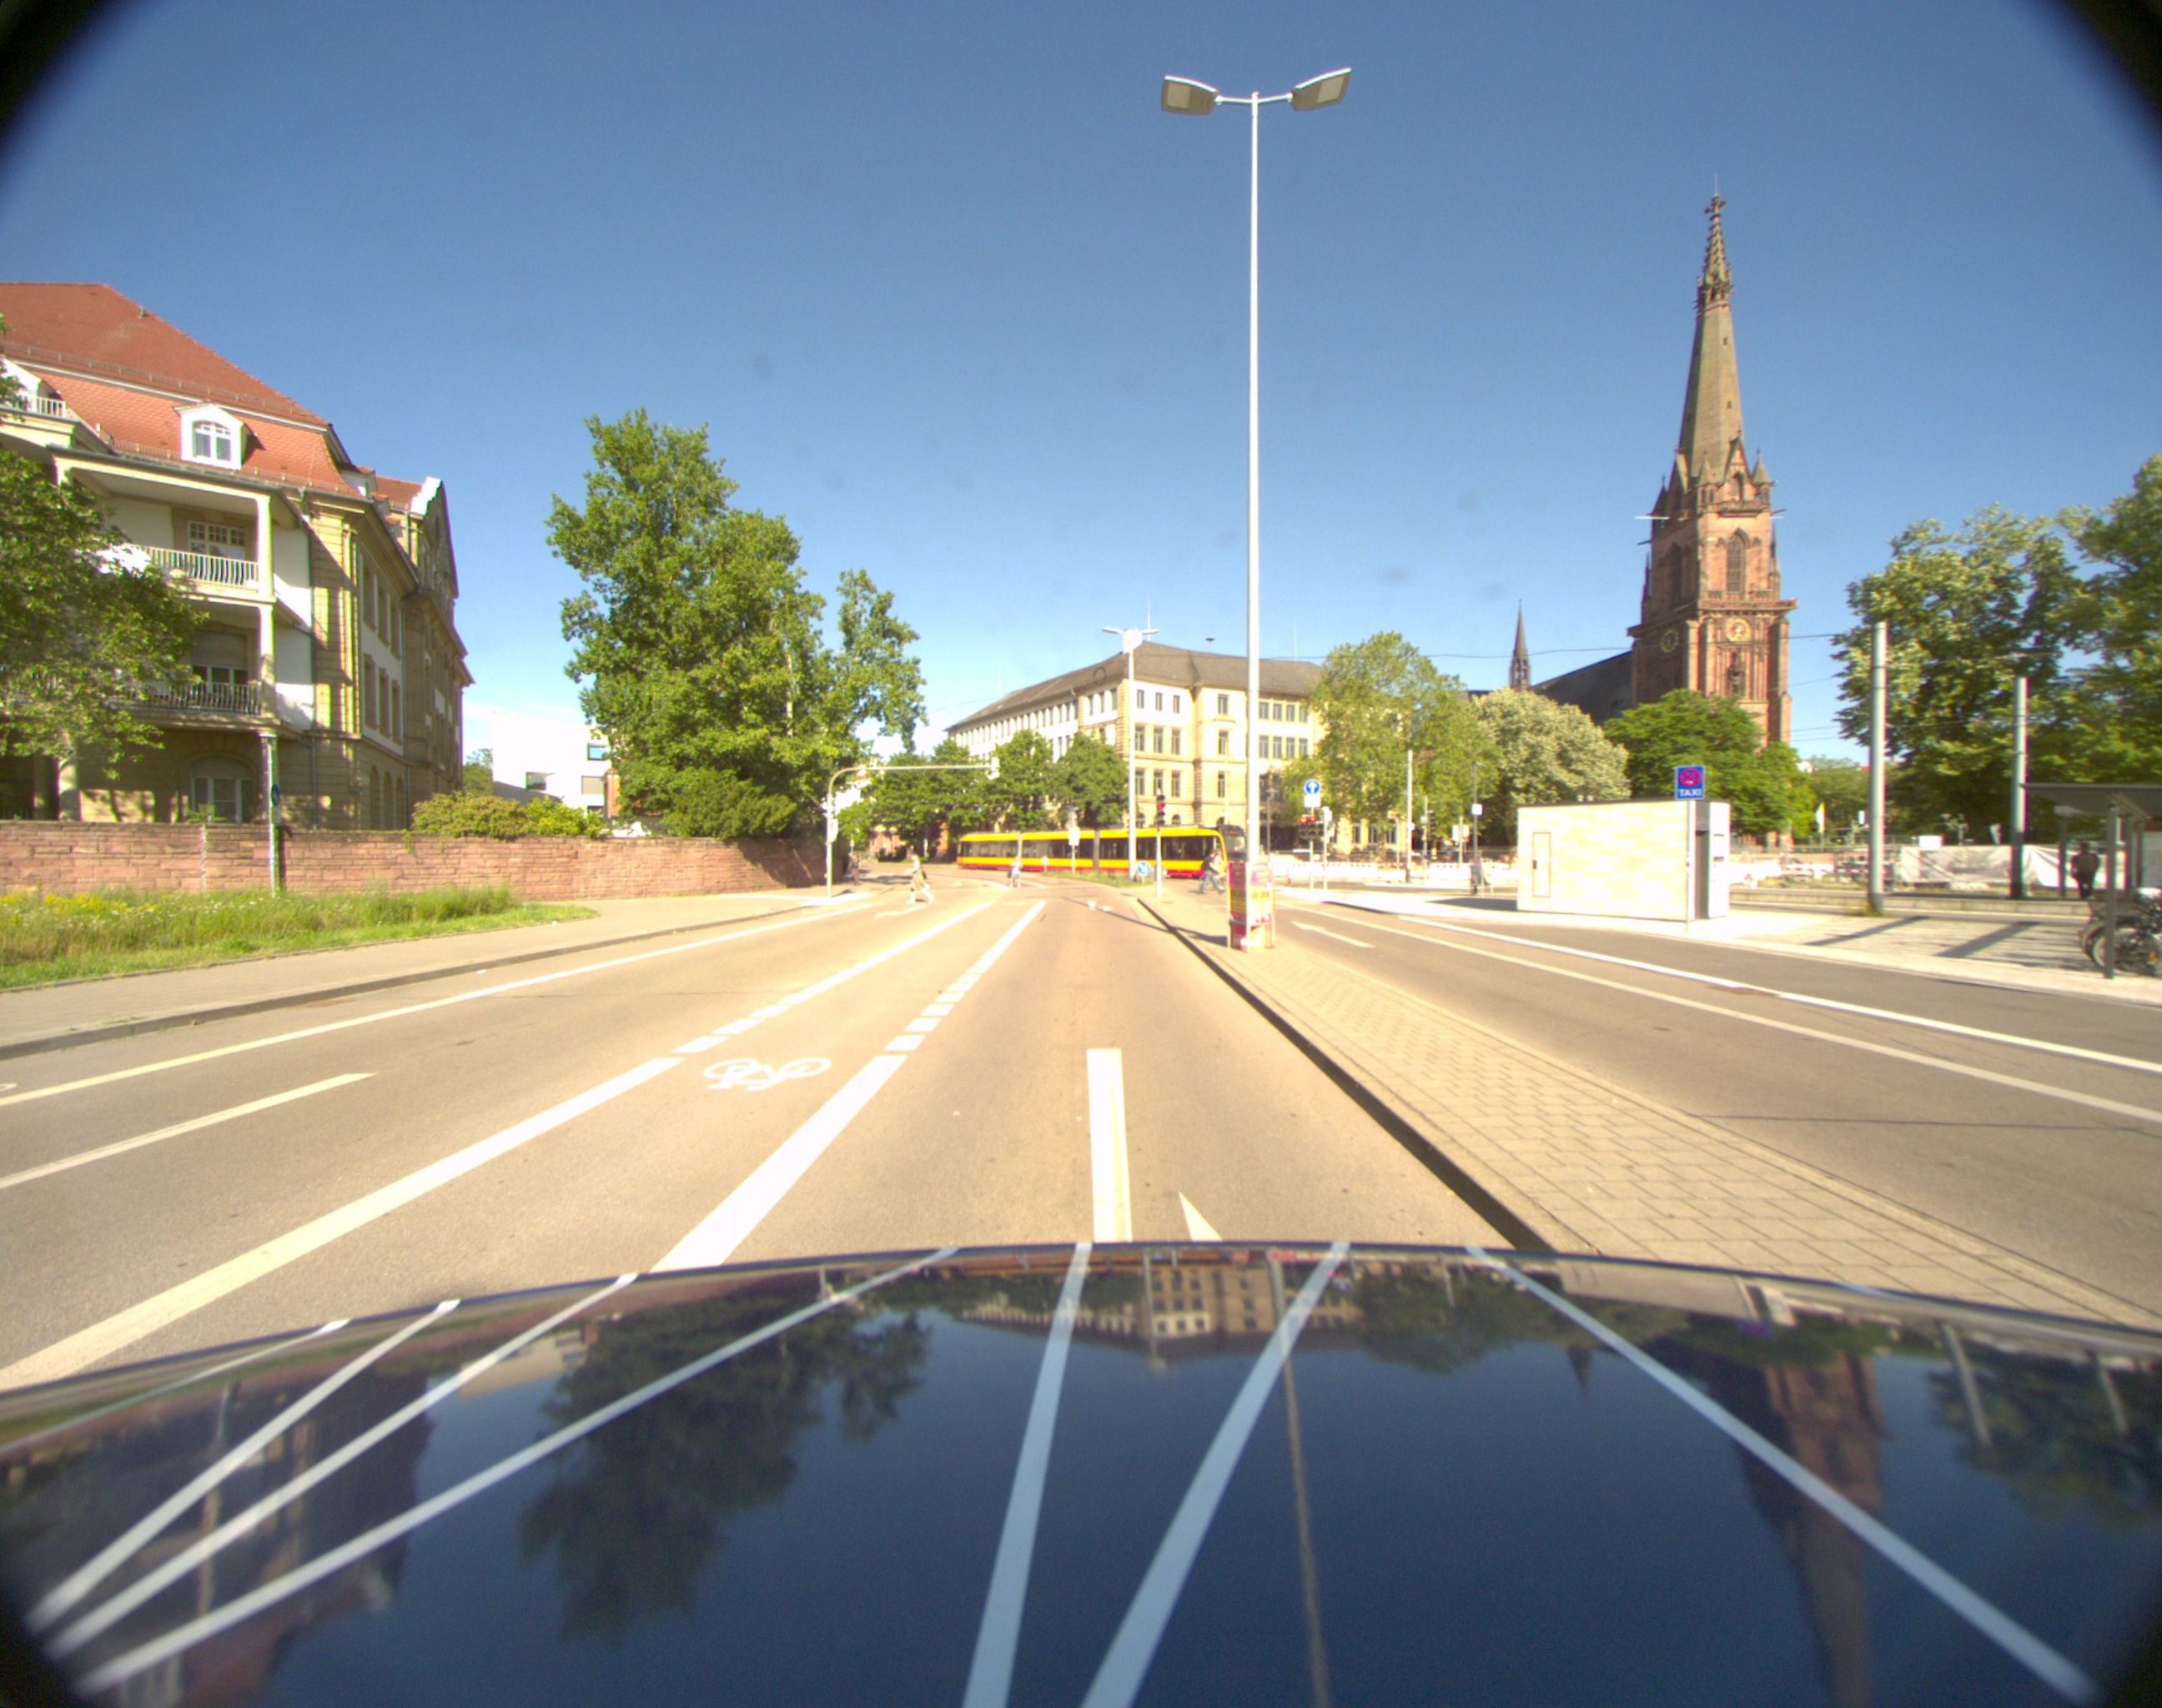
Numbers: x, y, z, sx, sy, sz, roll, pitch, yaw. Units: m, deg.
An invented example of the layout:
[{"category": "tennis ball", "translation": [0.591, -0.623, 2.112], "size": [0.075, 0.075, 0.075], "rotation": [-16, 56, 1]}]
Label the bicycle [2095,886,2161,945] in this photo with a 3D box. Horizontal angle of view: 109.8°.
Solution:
[{"category": "bicycle", "translation": [19.527, 1.118, 13.448], "size": [0.630, 1.002, 1.826], "rotation": [-1, 1, -32]}]

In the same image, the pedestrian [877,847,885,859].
[{"category": "pedestrian", "translation": [-30.036, -0.108, 113.907], "size": [0.759, 1.802, 0.977], "rotation": [-1, 1, -40]}]

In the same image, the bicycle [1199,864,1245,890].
[{"category": "bicycle", "translation": [6.136, 1.003, 33.086], "size": [1.882, 1.064, 0.725], "rotation": [-1, 1, 5]}]

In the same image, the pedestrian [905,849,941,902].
[{"category": "pedestrian", "translation": [-5.646, 0.765, 27.113], "size": [1.230, 1.845, 0.826], "rotation": [0, 1, -14]}]

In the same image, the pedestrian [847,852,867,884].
[{"category": "pedestrian", "translation": [-12.190, 0.736, 41.396], "size": [0.940, 1.711, 0.994], "rotation": [0, 1, -12]}]

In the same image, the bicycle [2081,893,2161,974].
[{"category": "bicycle", "translation": [15.142, 1.111, 10.319], "size": [0.574, 1.045, 1.826], "rotation": [-1, 1, -32]}]

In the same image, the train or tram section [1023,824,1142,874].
[{"category": "train or tram section", "translation": [-0.224, -0.392, 59.916], "size": [2.806, 3.580, 12.294], "rotation": [-1, 1, -35]}]

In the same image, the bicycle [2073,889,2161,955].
[{"category": "bicycle", "translation": [17.814, 1.131, 12.451], "size": [0.630, 1.002, 1.826], "rotation": [-1, 1, -32]}]

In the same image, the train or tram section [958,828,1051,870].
[{"category": "train or tram section", "translation": [-7.318, -0.474, 70.108], "size": [2.806, 3.580, 12.504], "rotation": [-1, 1, -35]}]

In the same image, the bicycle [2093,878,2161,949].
[{"category": "bicycle", "translation": [18.948, 1.042, 13.039], "size": [0.630, 1.173, 1.826], "rotation": [-1, 1, -32]}]

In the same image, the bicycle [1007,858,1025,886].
[{"category": "bicycle", "translation": [-3.411, 0.910, 39.795], "size": [0.762, 1.360, 2.736], "rotation": [0, 1, -8]}]

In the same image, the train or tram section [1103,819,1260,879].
[{"category": "train or tram section", "translation": [6.266, -0.330, 50.563], "size": [2.838, 3.580, 12.294], "rotation": [-1, 1, -35]}]

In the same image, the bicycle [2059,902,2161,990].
[{"category": "bicycle", "translation": [13.934, 1.202, 9.582], "size": [0.702, 1.002, 1.863], "rotation": [-1, 2, -32]}]

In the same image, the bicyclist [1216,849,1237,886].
[{"category": "bicyclist", "translation": [6.328, 0.577, 33.060], "size": [0.777, 1.596, 0.723], "rotation": [-1, 1, 5]}]

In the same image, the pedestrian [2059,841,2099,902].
[{"category": "pedestrian", "translation": [30.841, 0.517, 23.481], "size": [0.606, 1.845, 0.679], "rotation": [-1, 1, -33]}]

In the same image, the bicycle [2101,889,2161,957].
[{"category": "bicycle", "translation": [17.166, 1.094, 11.615], "size": [0.630, 1.002, 1.826], "rotation": [-1, 1, -32]}]

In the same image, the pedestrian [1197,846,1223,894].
[{"category": "pedestrian", "translation": [5.094, 0.625, 30.146], "size": [0.960, 1.839, 0.732], "rotation": [2, 1, 9]}]

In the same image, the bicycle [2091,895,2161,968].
[{"category": "bicycle", "translation": [16.179, 1.156, 10.991], "size": [0.630, 1.002, 1.826], "rotation": [-1, 1, -32]}]

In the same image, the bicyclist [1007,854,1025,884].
[{"category": "bicyclist", "translation": [-3.430, 0.761, 39.849], "size": [0.870, 1.551, 1.279], "rotation": [0, 1, -8]}]

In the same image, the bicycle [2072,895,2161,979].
[{"category": "bicycle", "translation": [14.672, 1.125, 10.053], "size": [0.630, 1.059, 1.826], "rotation": [-1, 1, -32]}]
